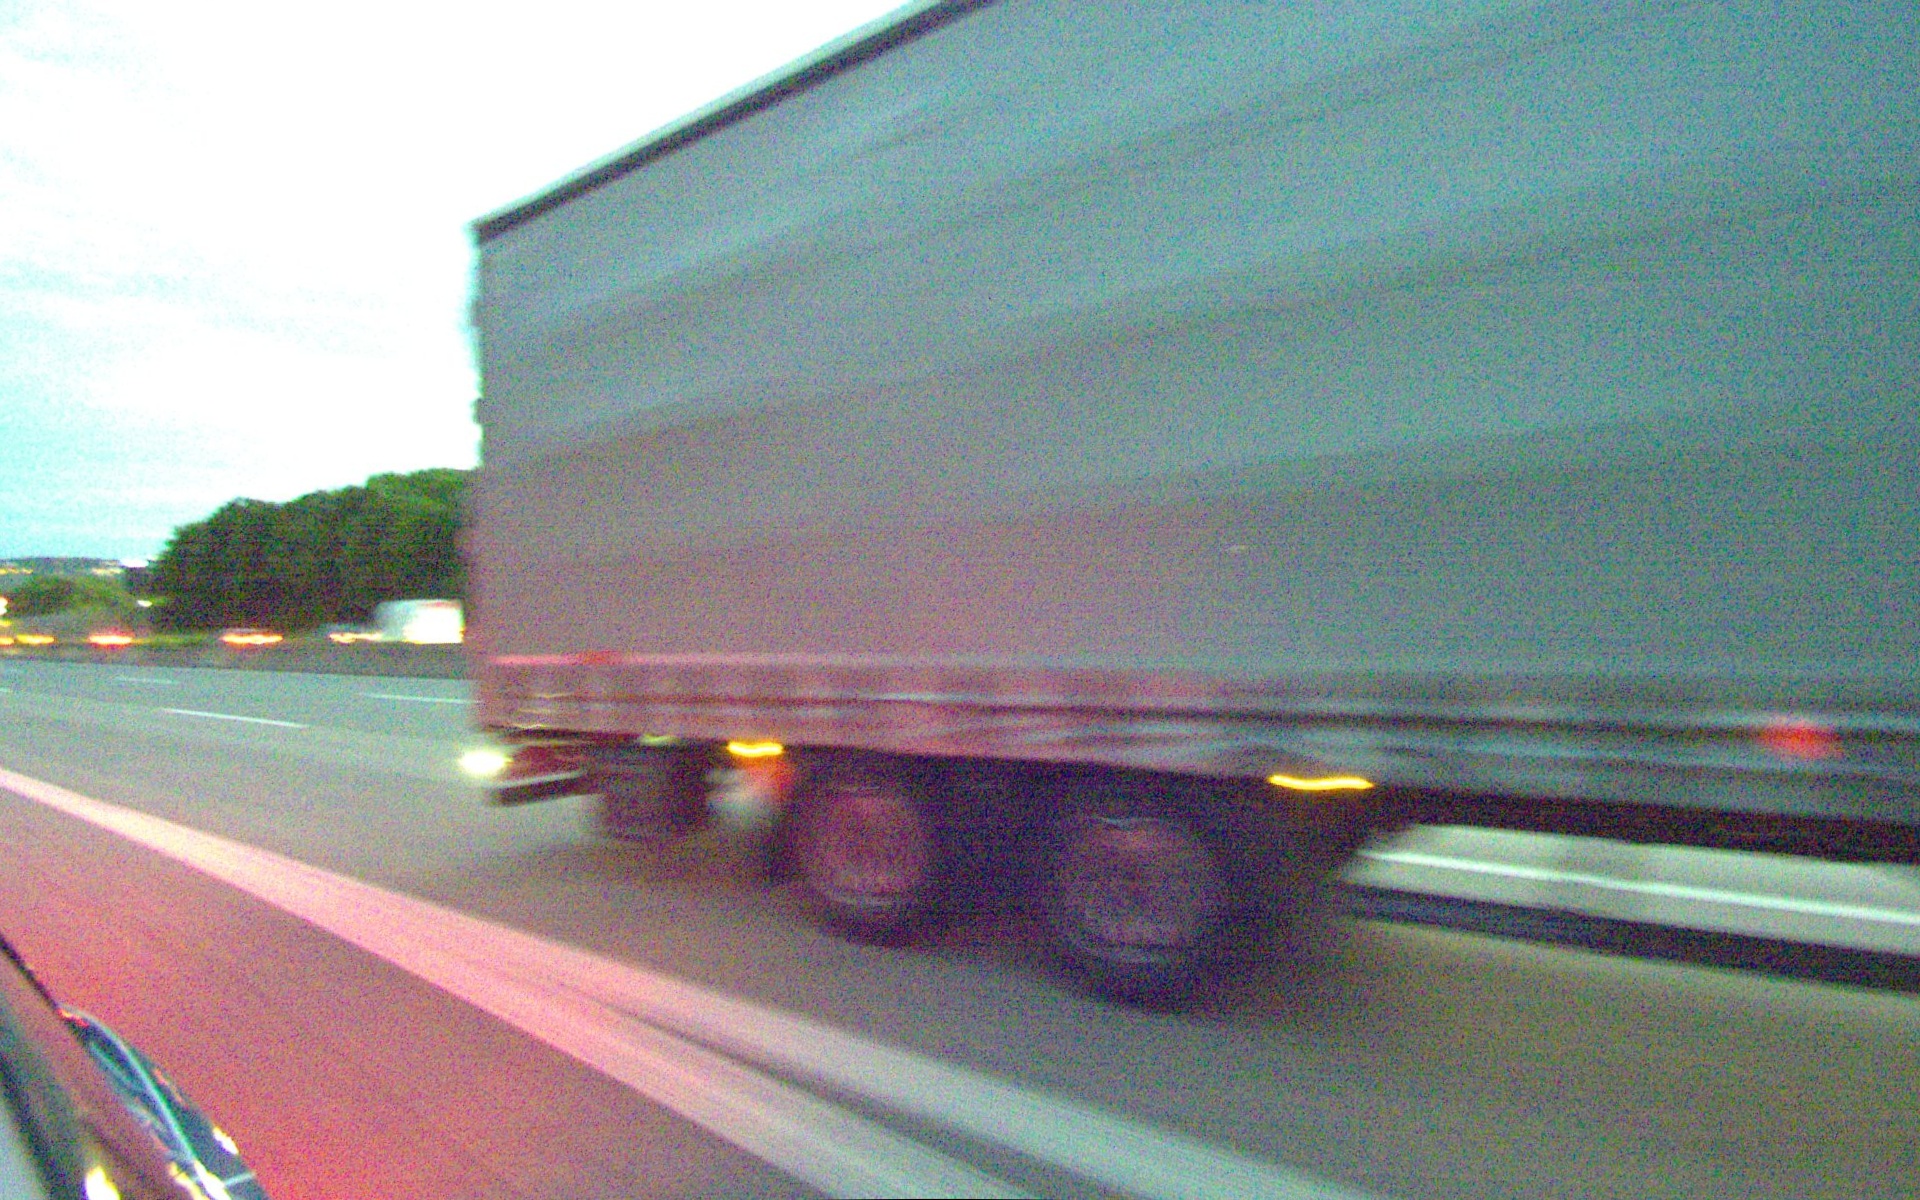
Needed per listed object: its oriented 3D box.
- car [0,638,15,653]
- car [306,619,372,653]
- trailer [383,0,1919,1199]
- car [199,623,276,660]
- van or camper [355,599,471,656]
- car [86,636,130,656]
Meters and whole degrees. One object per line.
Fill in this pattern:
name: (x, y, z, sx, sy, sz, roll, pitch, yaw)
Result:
car: (-111.097, 5.308, 116.996, 4.553, 1.622, 1.974, -2, -1, 38)
car: (-39.129, 2.282, 63.744, 4.228, 2.029, 2.010, -2, -1, 35)
trailer: (2.967, -0.603, 3.384, 14.790, 3.945, 2.749, -2, -1, 36)
car: (-38.676, 2.229, 54.164, 3.988, 1.757, 1.978, -2, 1, 33)
van or camper: (-27.112, 1.333, 50.039, 6.476, 2.614, 2.494, -2, 0, 36)
car: (-70.985, 3.814, 84.343, 3.993, 1.558, 1.975, -2, -1, 37)
